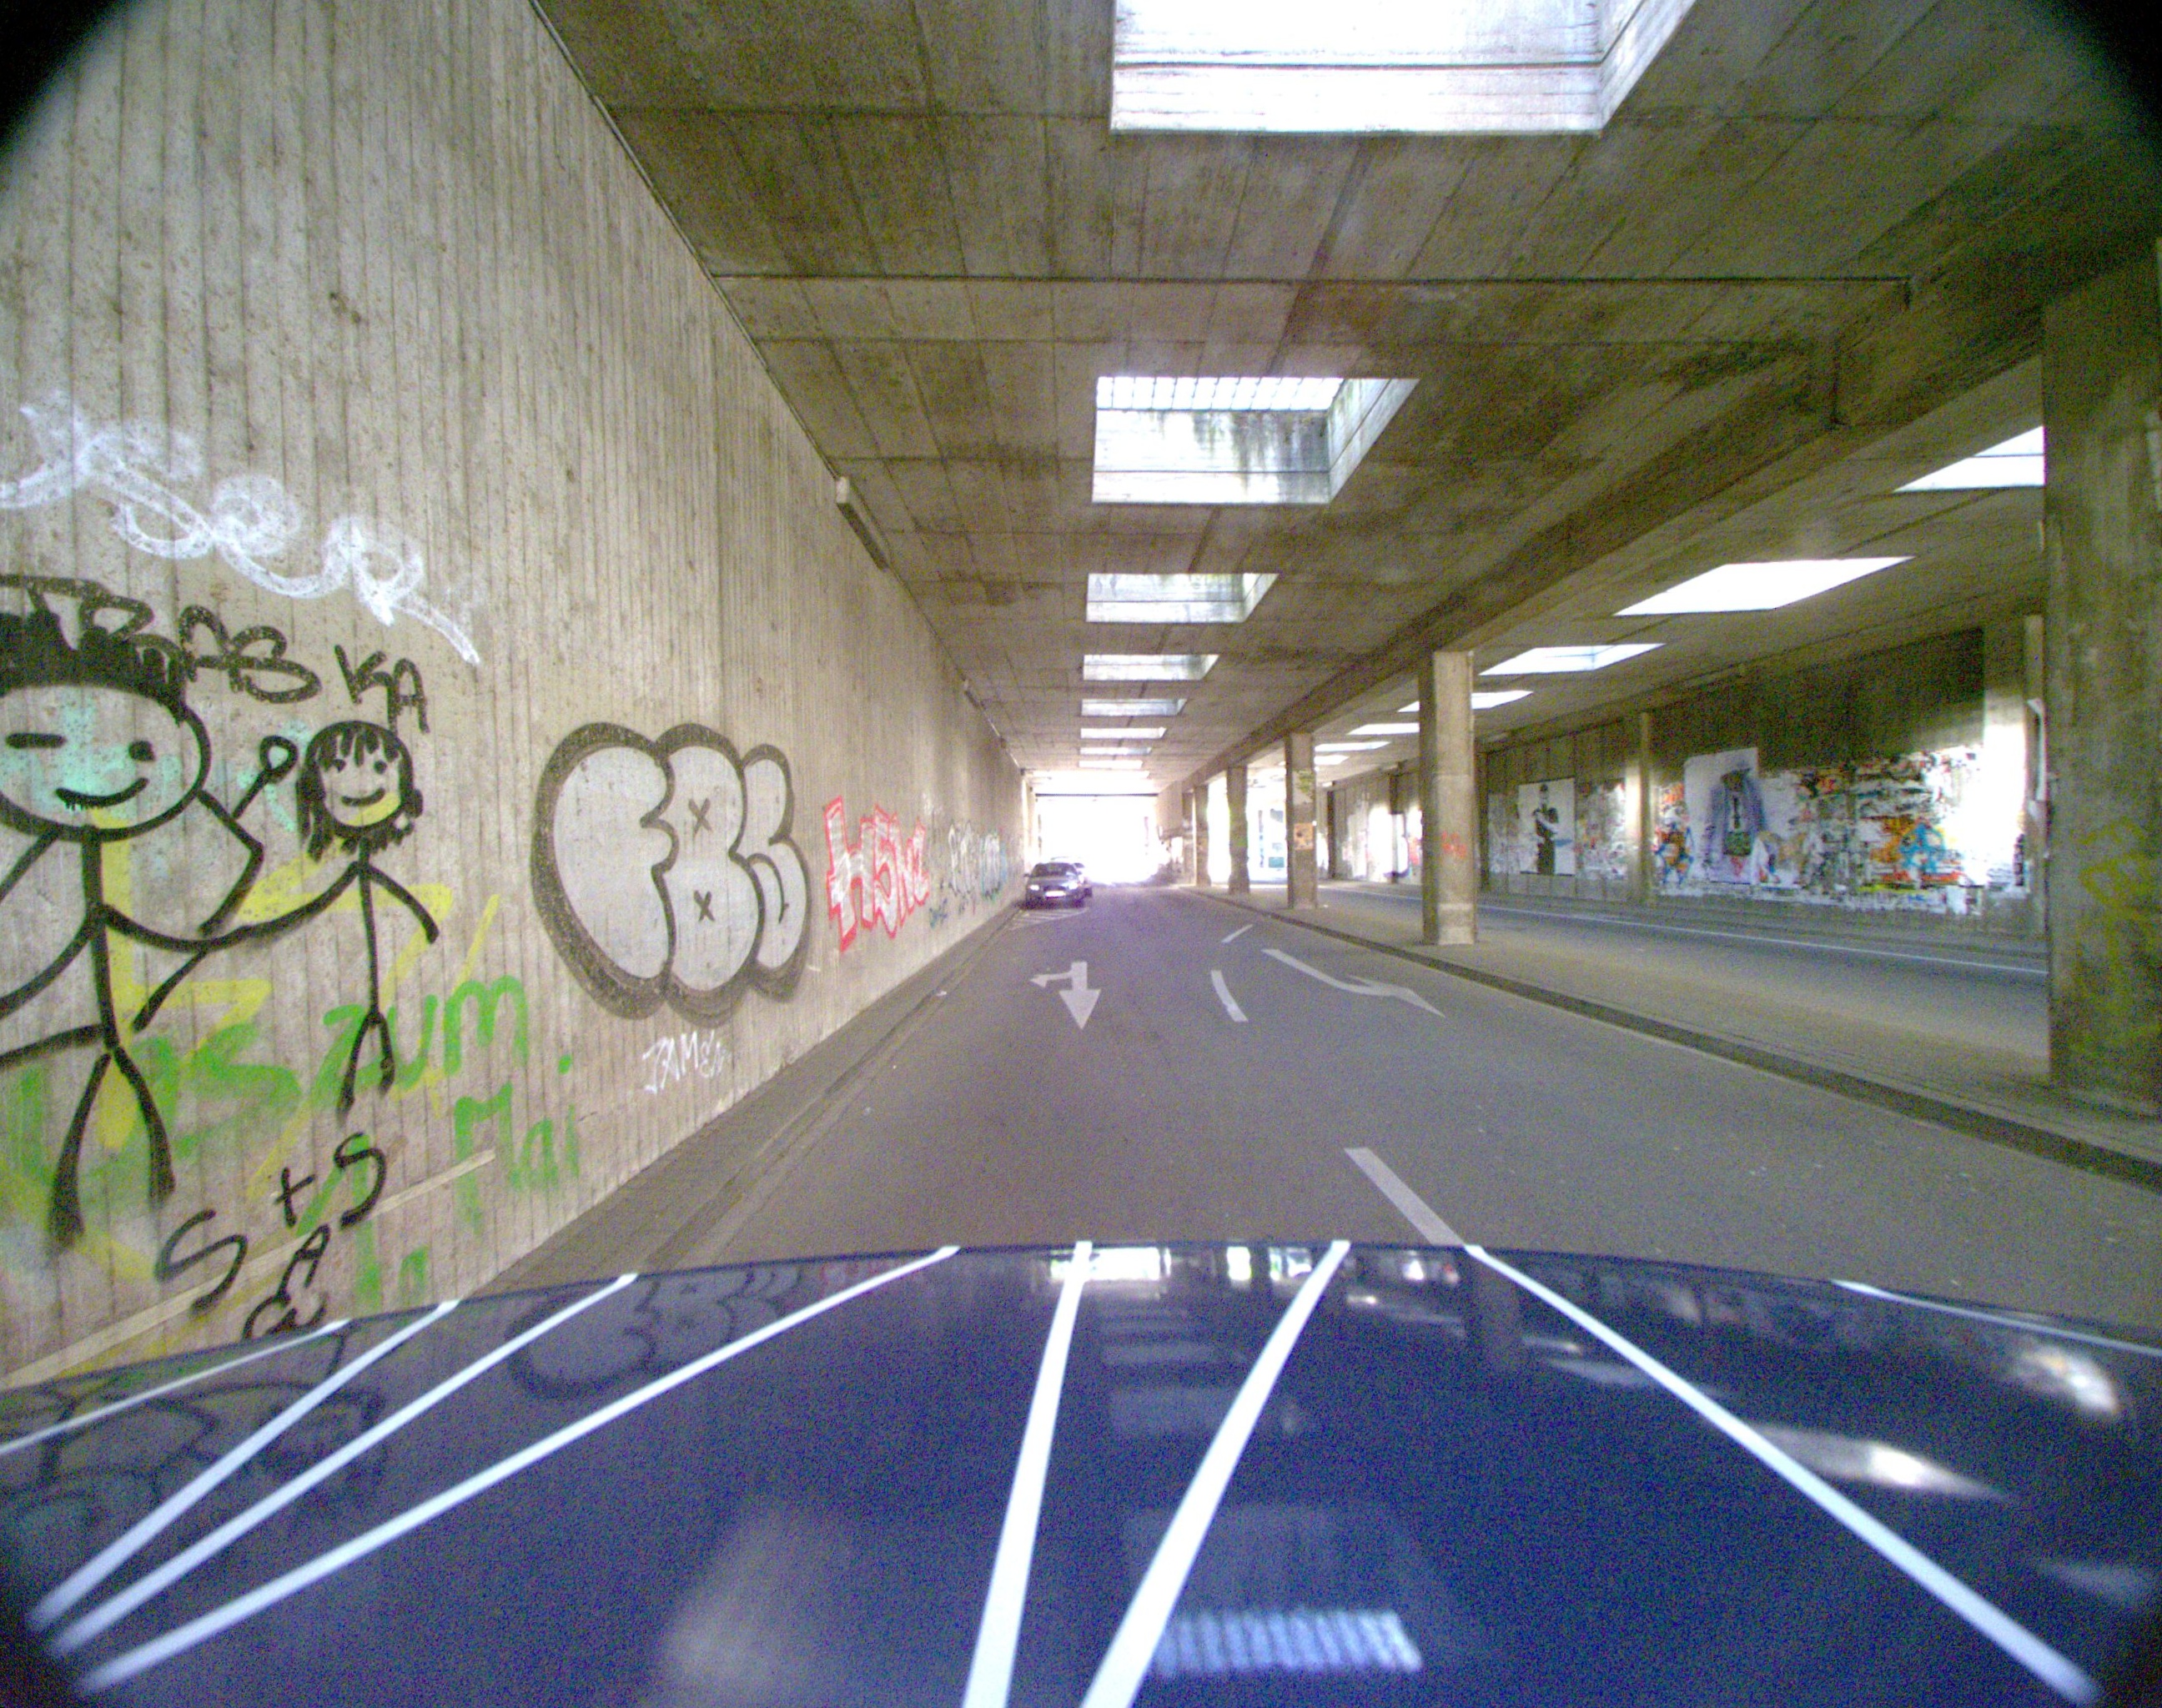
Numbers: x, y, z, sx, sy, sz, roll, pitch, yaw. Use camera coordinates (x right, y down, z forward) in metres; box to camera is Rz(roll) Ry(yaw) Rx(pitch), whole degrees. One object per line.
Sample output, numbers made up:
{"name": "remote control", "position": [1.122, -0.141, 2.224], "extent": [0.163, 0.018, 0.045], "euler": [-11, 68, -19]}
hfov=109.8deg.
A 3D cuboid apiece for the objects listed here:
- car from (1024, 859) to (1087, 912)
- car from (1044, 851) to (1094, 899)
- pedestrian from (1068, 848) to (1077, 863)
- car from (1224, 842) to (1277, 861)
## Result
{"name": "car", "position": [-0.722, 0.921, 24.003], "extent": [1.767, 1.407, 3.999], "euler": [-2, 1, 1]}
{"name": "car", "position": [-0.505, 0.764, 29.793], "extent": [1.767, 1.634, 3.999], "euler": [-2, 1, -2]}
{"name": "pedestrian", "position": [-1.220, 0.249, 105.749], "extent": [1.215, 2.002, 1.489], "euler": [-2, 1, -1]}
{"name": "car", "position": [17.292, -0.273, 77.496], "extent": [4.858, 1.740, 1.999], "euler": [-2, 1, -7]}
